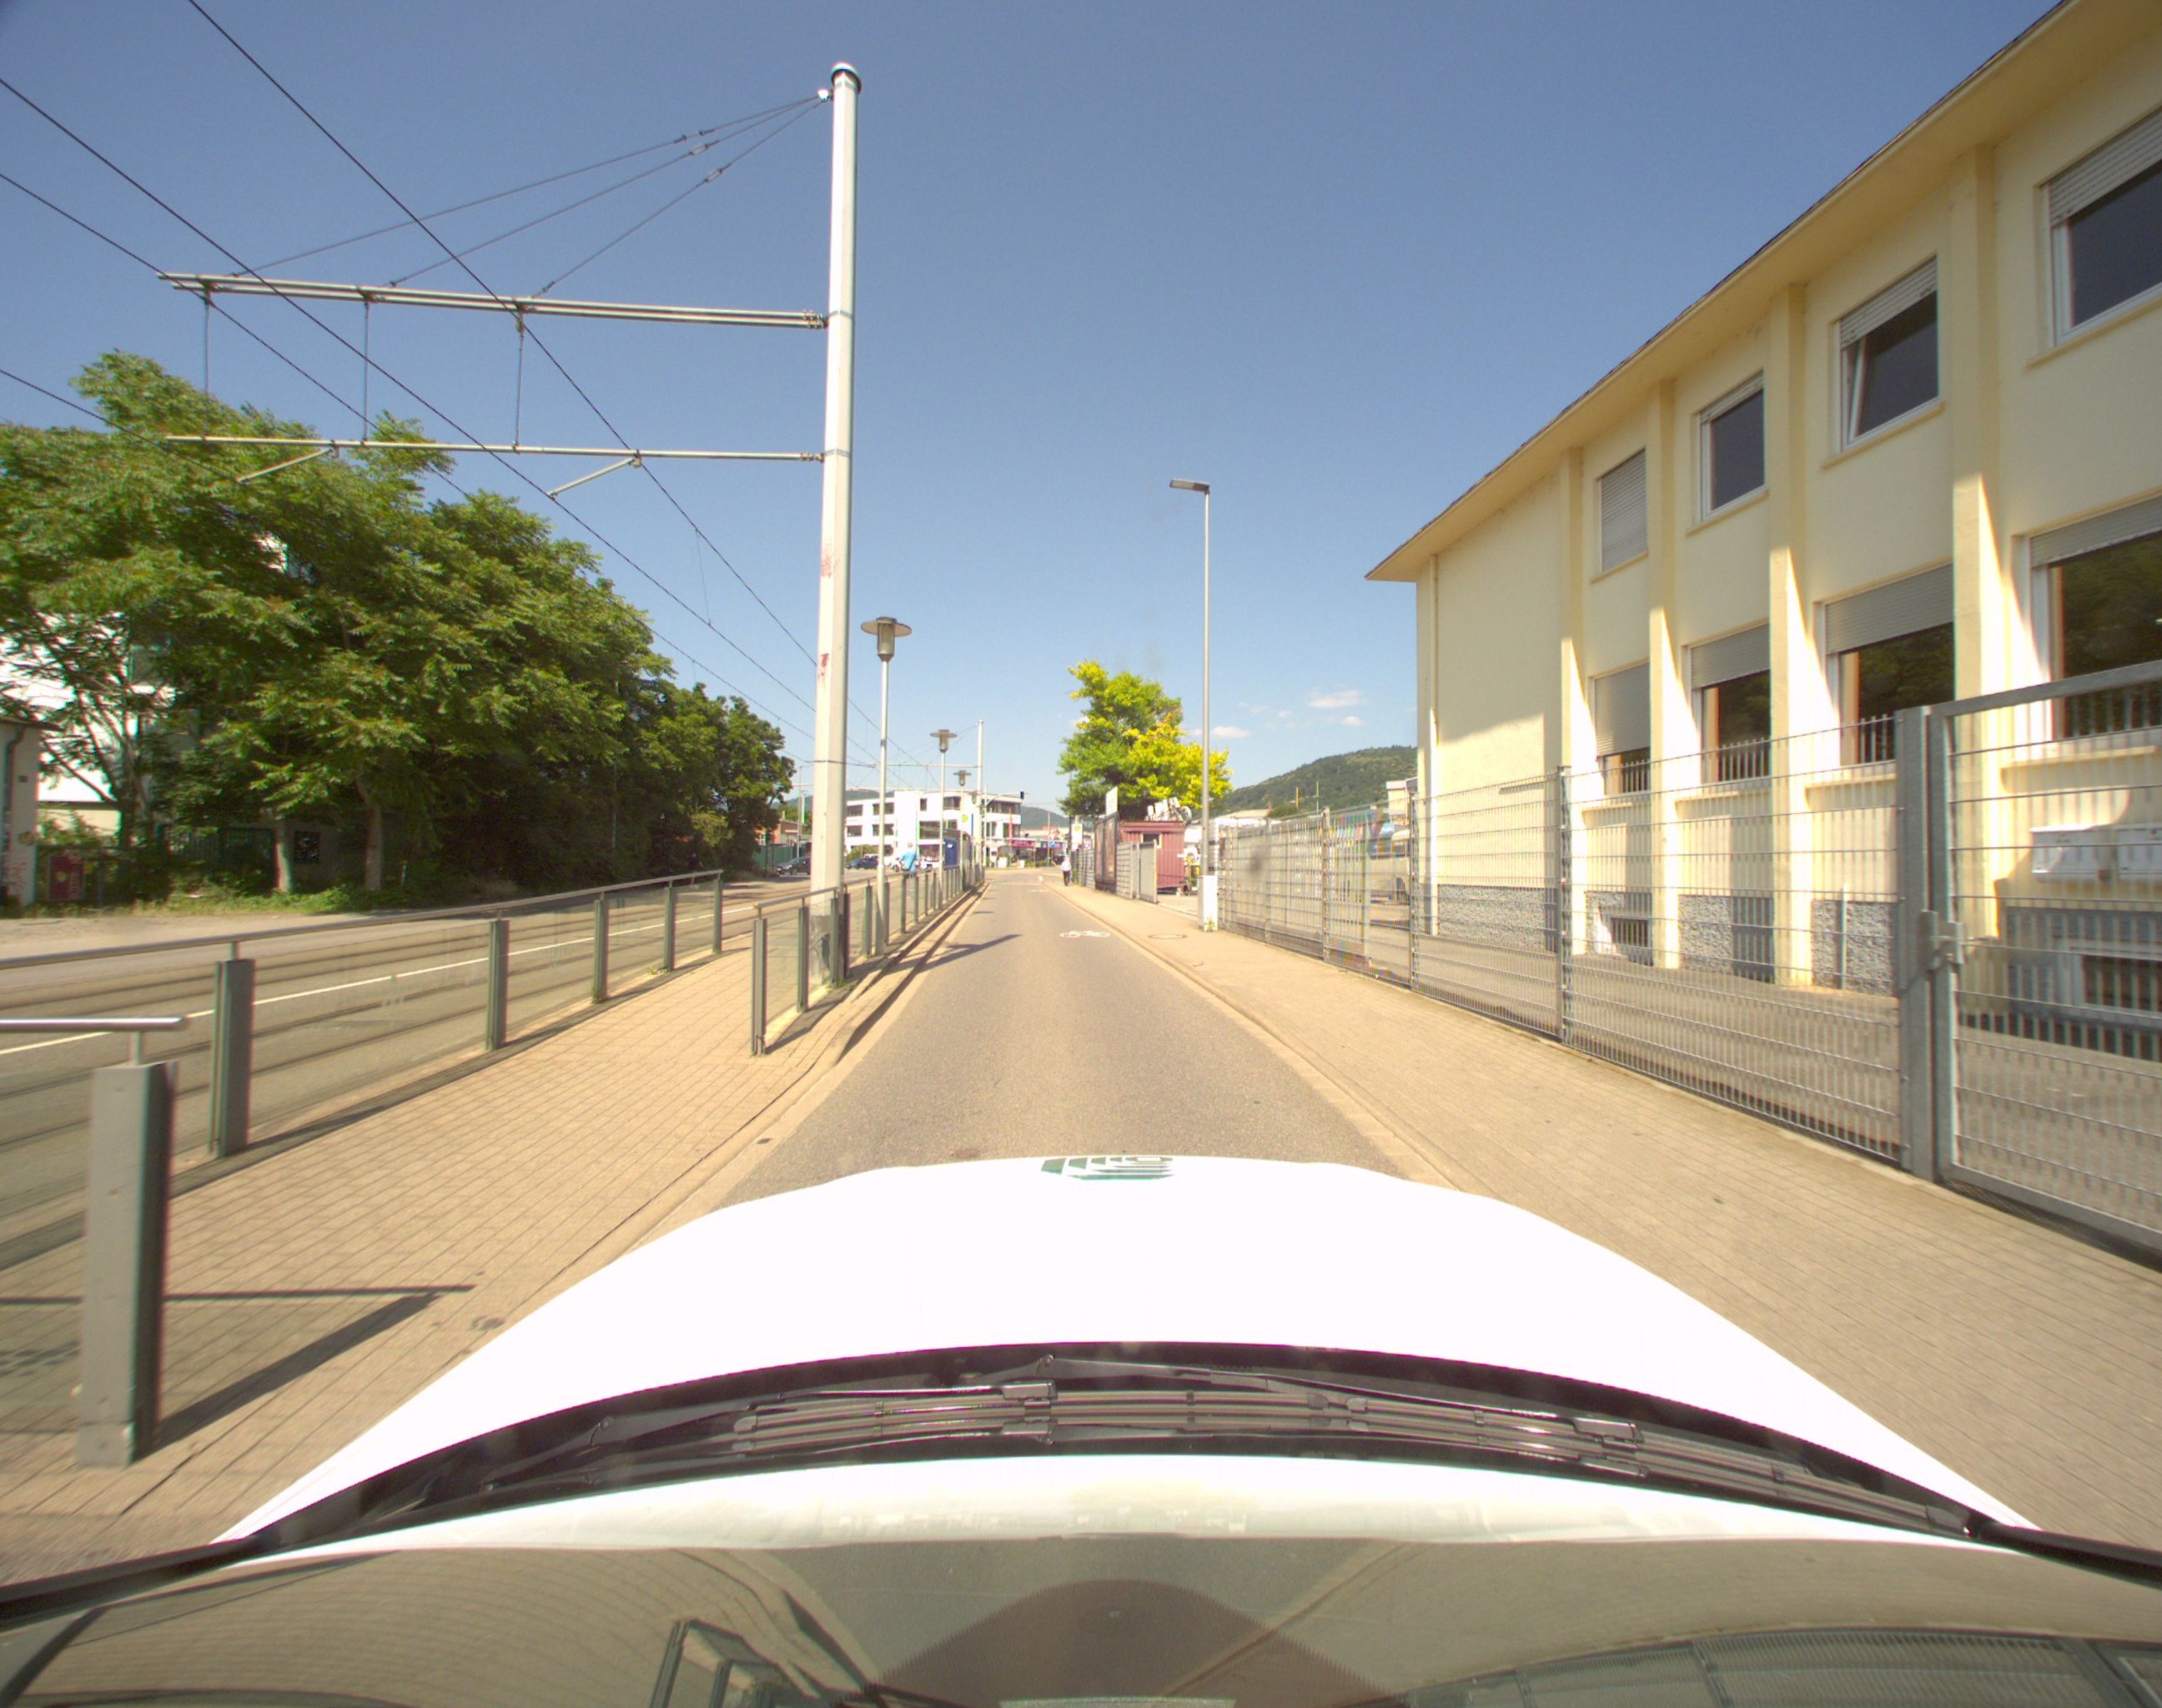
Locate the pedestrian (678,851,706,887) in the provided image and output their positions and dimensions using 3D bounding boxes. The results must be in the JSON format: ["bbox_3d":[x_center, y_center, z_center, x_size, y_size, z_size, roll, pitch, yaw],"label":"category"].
[{"bbox_3d":[-18.547,0.715,38.855,0.885,1.670,1.158,0,-1,-6],"label":"pedestrian"}]

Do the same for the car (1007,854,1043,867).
[{"bbox_3d":[-8.132,0.936,118.059,1.941,1.965,5.313,0,-1,42],"label":"car"}]

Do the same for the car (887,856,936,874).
[{"bbox_3d":[-16.785,1.059,80.605,4.506,1.733,2.012,-1,0,29],"label":"car"}]

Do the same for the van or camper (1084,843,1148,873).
[{"bbox_3d":[3.224,0.349,75.302,5.797,2.773,2.089,0,0,-3],"label":"van or camper"}]

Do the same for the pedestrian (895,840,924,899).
[{"bbox_3d":[-5.178,0.458,24.639,0.723,1.724,0.943,1,0,-5],"label":"pedestrian"}]

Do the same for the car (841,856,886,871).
[{"bbox_3d":[-26.187,1.125,97.996,1.931,1.665,4.940,-1,0,43],"label":"car"}]

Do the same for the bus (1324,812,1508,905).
[{"bbox_3d":[12.998,0.366,32.949,2.561,3.172,10.250,0,-2,-4],"label":"bus"}]

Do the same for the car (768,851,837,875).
[{"bbox_3d":[-22.572,0.728,66.219,2.074,1.838,4.942,-1,0,40],"label":"car"}]

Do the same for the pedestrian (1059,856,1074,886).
[{"bbox_3d":[-0.840,0.969,47.357,0.812,1.699,0.885,0,0,-7],"label":"pedestrian"}]
